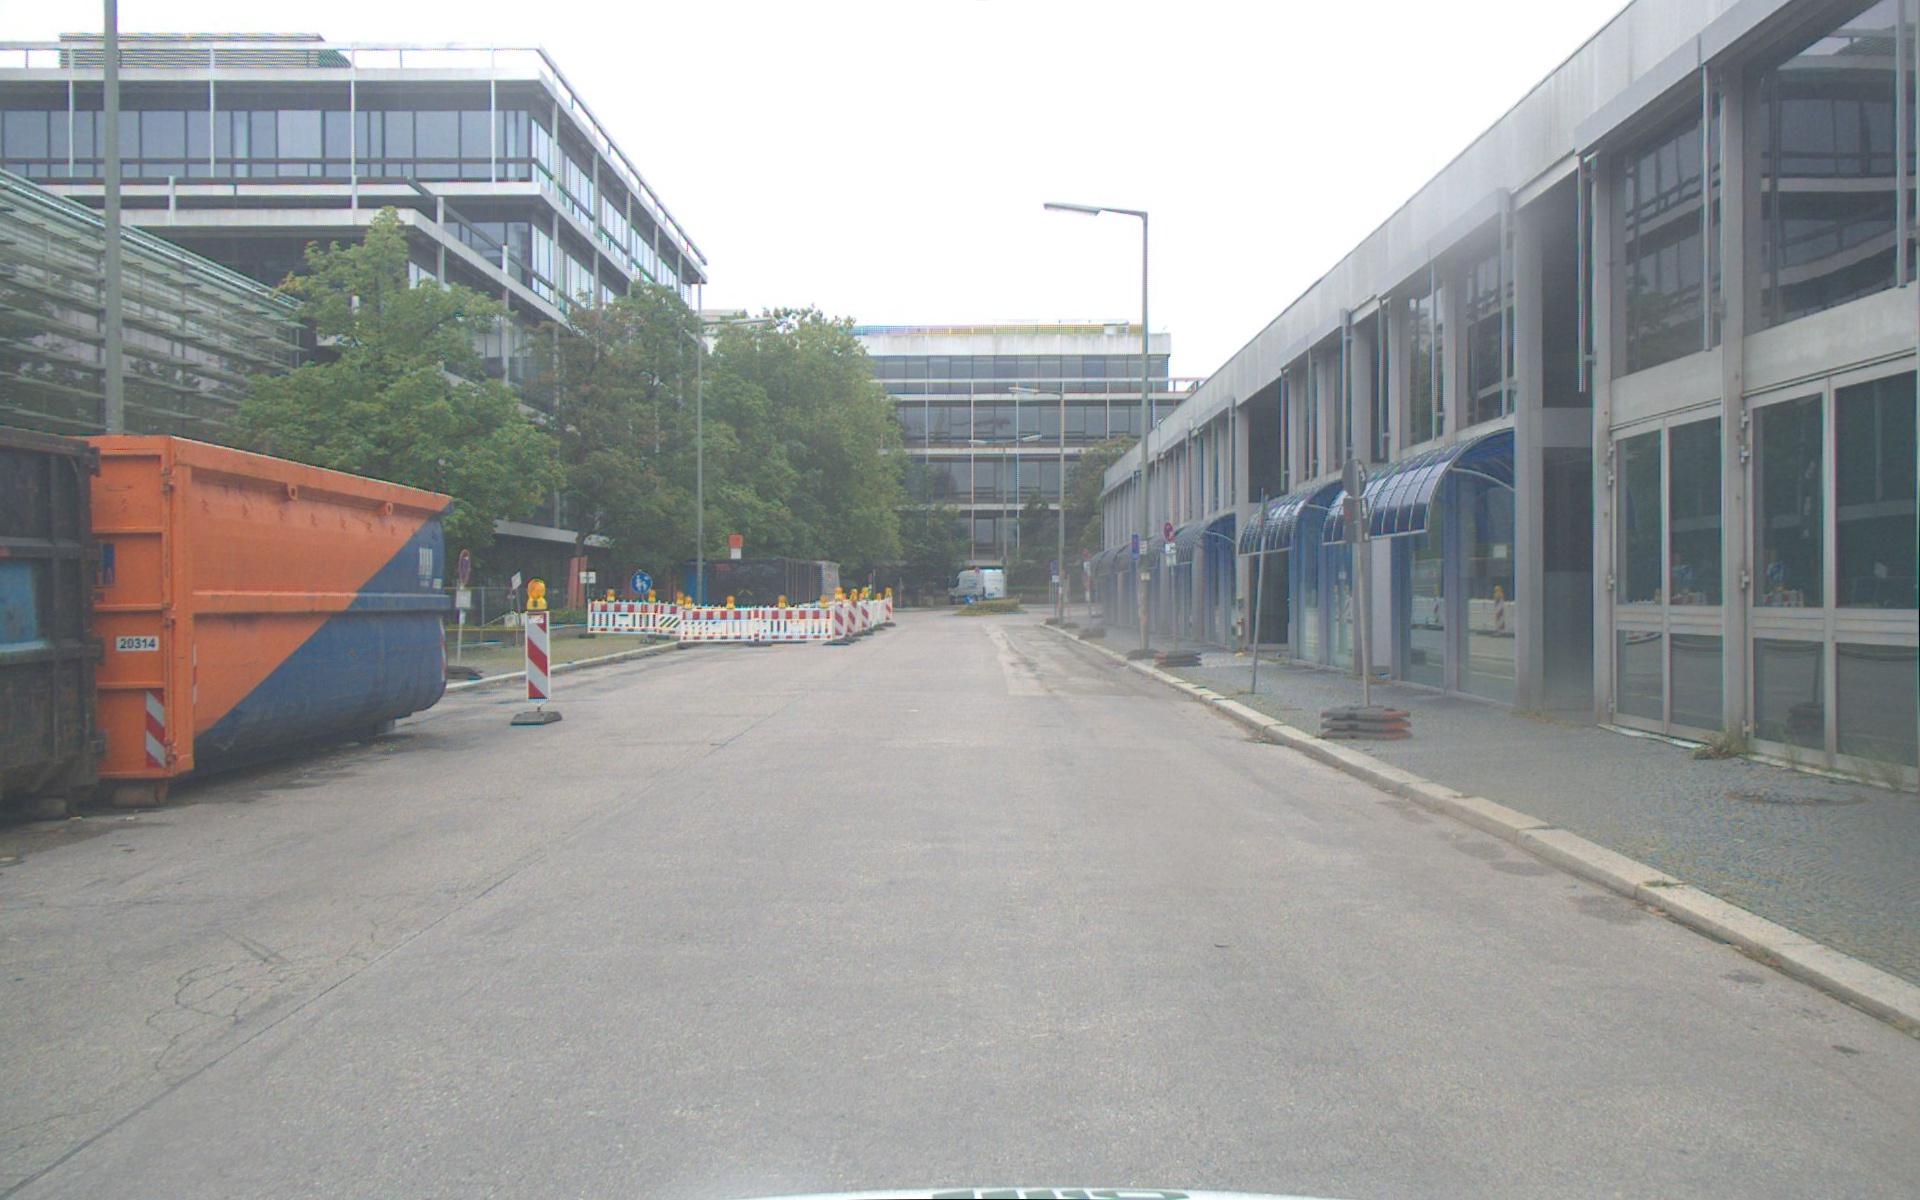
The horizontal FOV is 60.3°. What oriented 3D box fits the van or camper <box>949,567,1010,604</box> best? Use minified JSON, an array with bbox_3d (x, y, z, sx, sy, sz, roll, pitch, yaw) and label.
[{"bbox_3d":[1.436,-1.051,126.148,2.128,2.626,6.487,0,-1,-25],"label":"van or camper"}]
